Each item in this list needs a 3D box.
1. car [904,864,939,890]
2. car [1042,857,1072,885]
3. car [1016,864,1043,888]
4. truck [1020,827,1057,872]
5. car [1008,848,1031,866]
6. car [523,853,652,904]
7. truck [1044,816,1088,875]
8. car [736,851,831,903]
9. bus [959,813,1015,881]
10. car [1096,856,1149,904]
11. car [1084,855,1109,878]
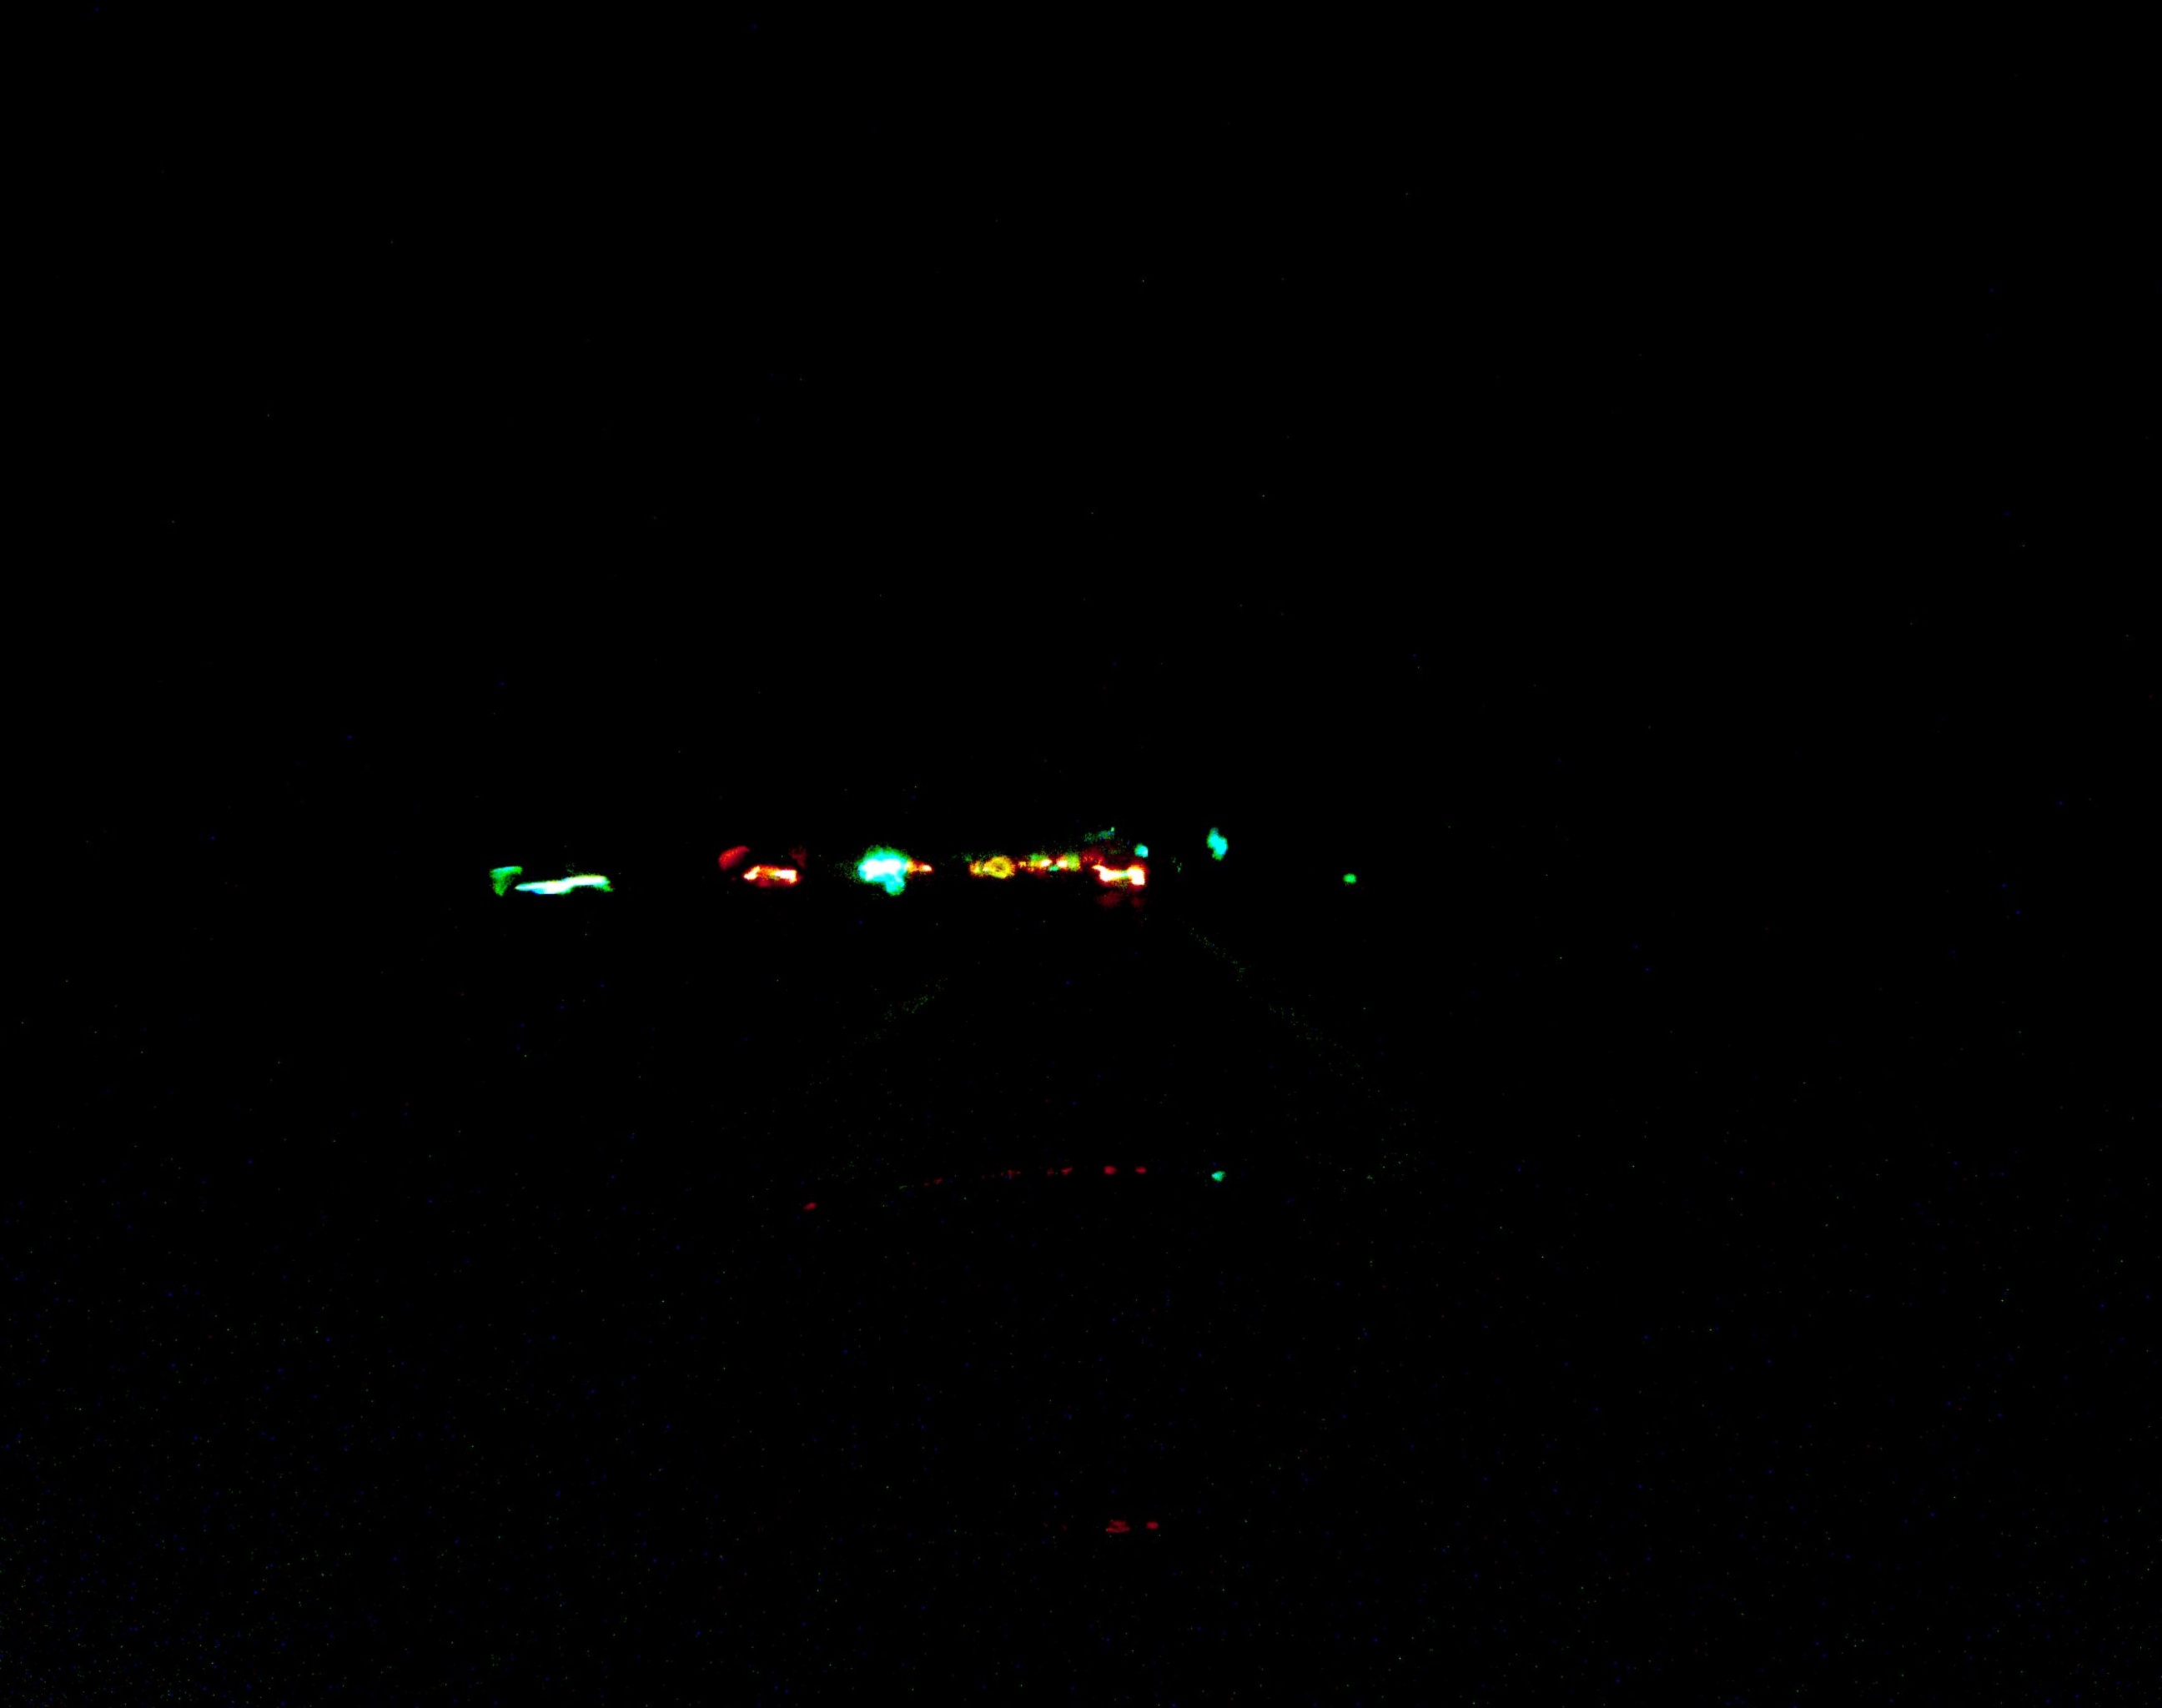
[{"bbox_3d":[-10.436,1.491,53.462,1.690,1.650,3.836,0,-1,-3],"label":"car"},{"bbox_3d":[-1.722,1.227,60.421,2.119,2.014,4.643,0,-1,-1],"label":"car"},{"bbox_3d":[-4.029,1.709,64.274,1.988,1.807,3.997,0,-1,-2],"label":"car"},{"bbox_3d":[-5.540,-0.467,108.822,4.195,5.648,11.468,0,-1,1],"label":"truck"},{"bbox_3d":[-6.077,0.317,80.669,1.988,1.807,3.997,0,-1,-2],"label":"car"},{"bbox_3d":[-19.098,0.911,31.848,1.873,1.843,5.060,0,-1,0],"label":"car"},{"bbox_3d":[-1.399,-0.739,84.318,4.195,5.648,11.468,0,-1,1],"label":"truck"},{"bbox_3d":[-9.811,0.724,27.221,1.990,1.596,3.993,0,-1,-5],"label":"car"},{"bbox_3d":[-6.609,-0.409,58.863,3.089,4.508,10.904,0,-1,-2],"label":"bus"},{"bbox_3d":[1.627,0.991,32.747,1.986,1.807,4.001,0,-1,1],"label":"car"},{"bbox_3d":[1.397,1.108,73.317,2.119,2.014,4.643,0,-1,-1],"label":"car"}]
